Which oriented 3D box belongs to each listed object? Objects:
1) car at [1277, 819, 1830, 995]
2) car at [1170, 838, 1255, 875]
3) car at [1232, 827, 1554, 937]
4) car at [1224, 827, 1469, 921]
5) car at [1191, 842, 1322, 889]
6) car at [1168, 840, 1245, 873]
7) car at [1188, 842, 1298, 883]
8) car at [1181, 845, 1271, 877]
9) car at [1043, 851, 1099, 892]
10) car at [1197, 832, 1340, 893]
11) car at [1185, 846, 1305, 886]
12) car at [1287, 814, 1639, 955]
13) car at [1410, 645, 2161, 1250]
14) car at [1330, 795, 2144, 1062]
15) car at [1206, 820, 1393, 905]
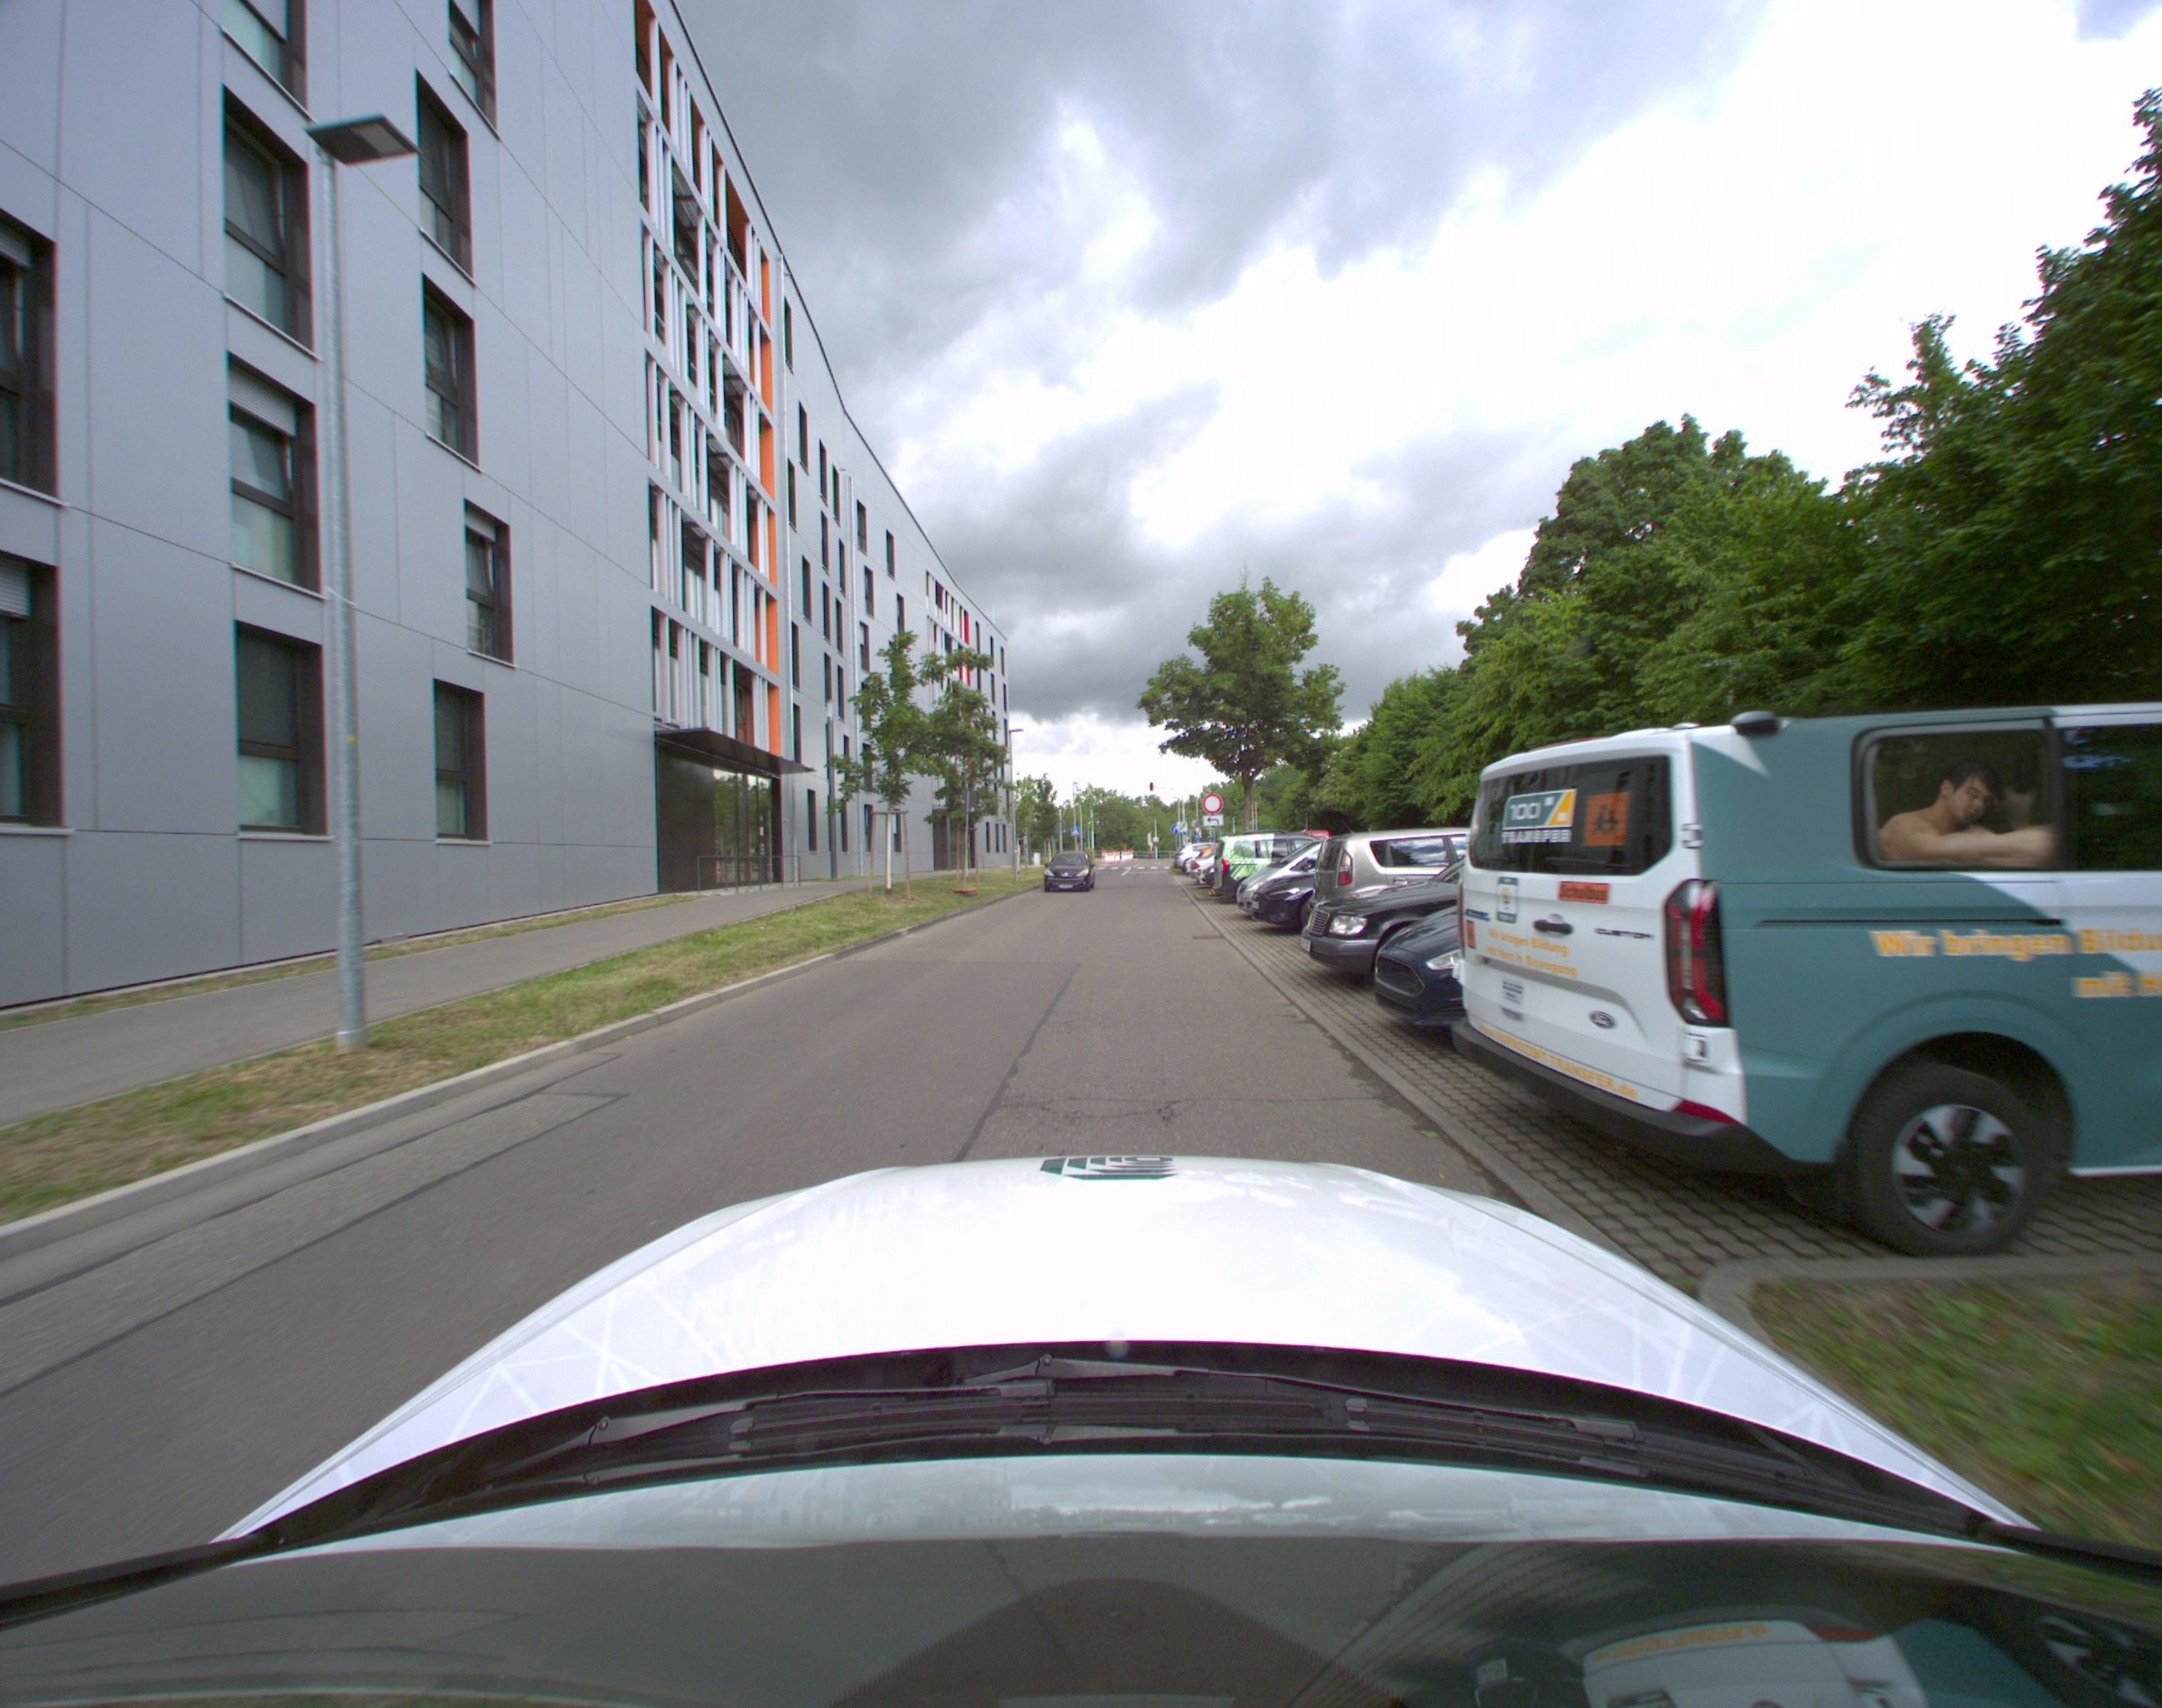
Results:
[{"bbox_3d":[4.695,0.501,8.761,4.703,1.434,2.059,-3,0,3],"label":"car"},{"bbox_3d":[7.127,0.112,44.494,4.361,1.903,1.918,-1,0,2],"label":"car"},{"bbox_3d":[5.192,0.431,14.069,4.711,1.498,2.111,-3,0,-1],"label":"car"},{"bbox_3d":[5.278,0.378,16.657,4.361,1.577,1.918,-3,0,2],"label":"car"},{"bbox_3d":[6.263,0.400,29.420,4.361,1.573,1.917,-1,0,2],"label":"car"},{"bbox_3d":[7.488,0.149,48.845,4.361,1.903,1.918,-1,0,2],"label":"car"},{"bbox_3d":[6.844,0.343,34.750,4.361,1.617,1.918,-1,1,2],"label":"car"},{"bbox_3d":[7.436,0.342,42.047,4.361,1.582,1.918,-1,1,2],"label":"car"},{"bbox_3d":[-0.304,0.603,30.284,1.601,1.388,4.007,0,0,6],"label":"car"},{"bbox_3d":[6.129,0.276,27.022,4.361,1.904,1.938,-1,0,2],"label":"car"},{"bbox_3d":[6.371,0.434,32.029,4.361,1.475,1.918,-1,1,2],"label":"car"},{"bbox_3d":[5.173,0.390,11.502,4.049,1.609,1.893,-3,0,2],"label":"car"},{"bbox_3d":[4.401,0.218,3.773,4.959,1.972,1.846,-3,0,-2],"label":"car"},{"bbox_3d":[4.557,0.494,6.275,4.685,1.516,1.848,-3,0,2],"label":"car"},{"bbox_3d":[5.641,0.206,21.456,4.361,1.904,1.918,-3,0,2],"label":"car"}]
